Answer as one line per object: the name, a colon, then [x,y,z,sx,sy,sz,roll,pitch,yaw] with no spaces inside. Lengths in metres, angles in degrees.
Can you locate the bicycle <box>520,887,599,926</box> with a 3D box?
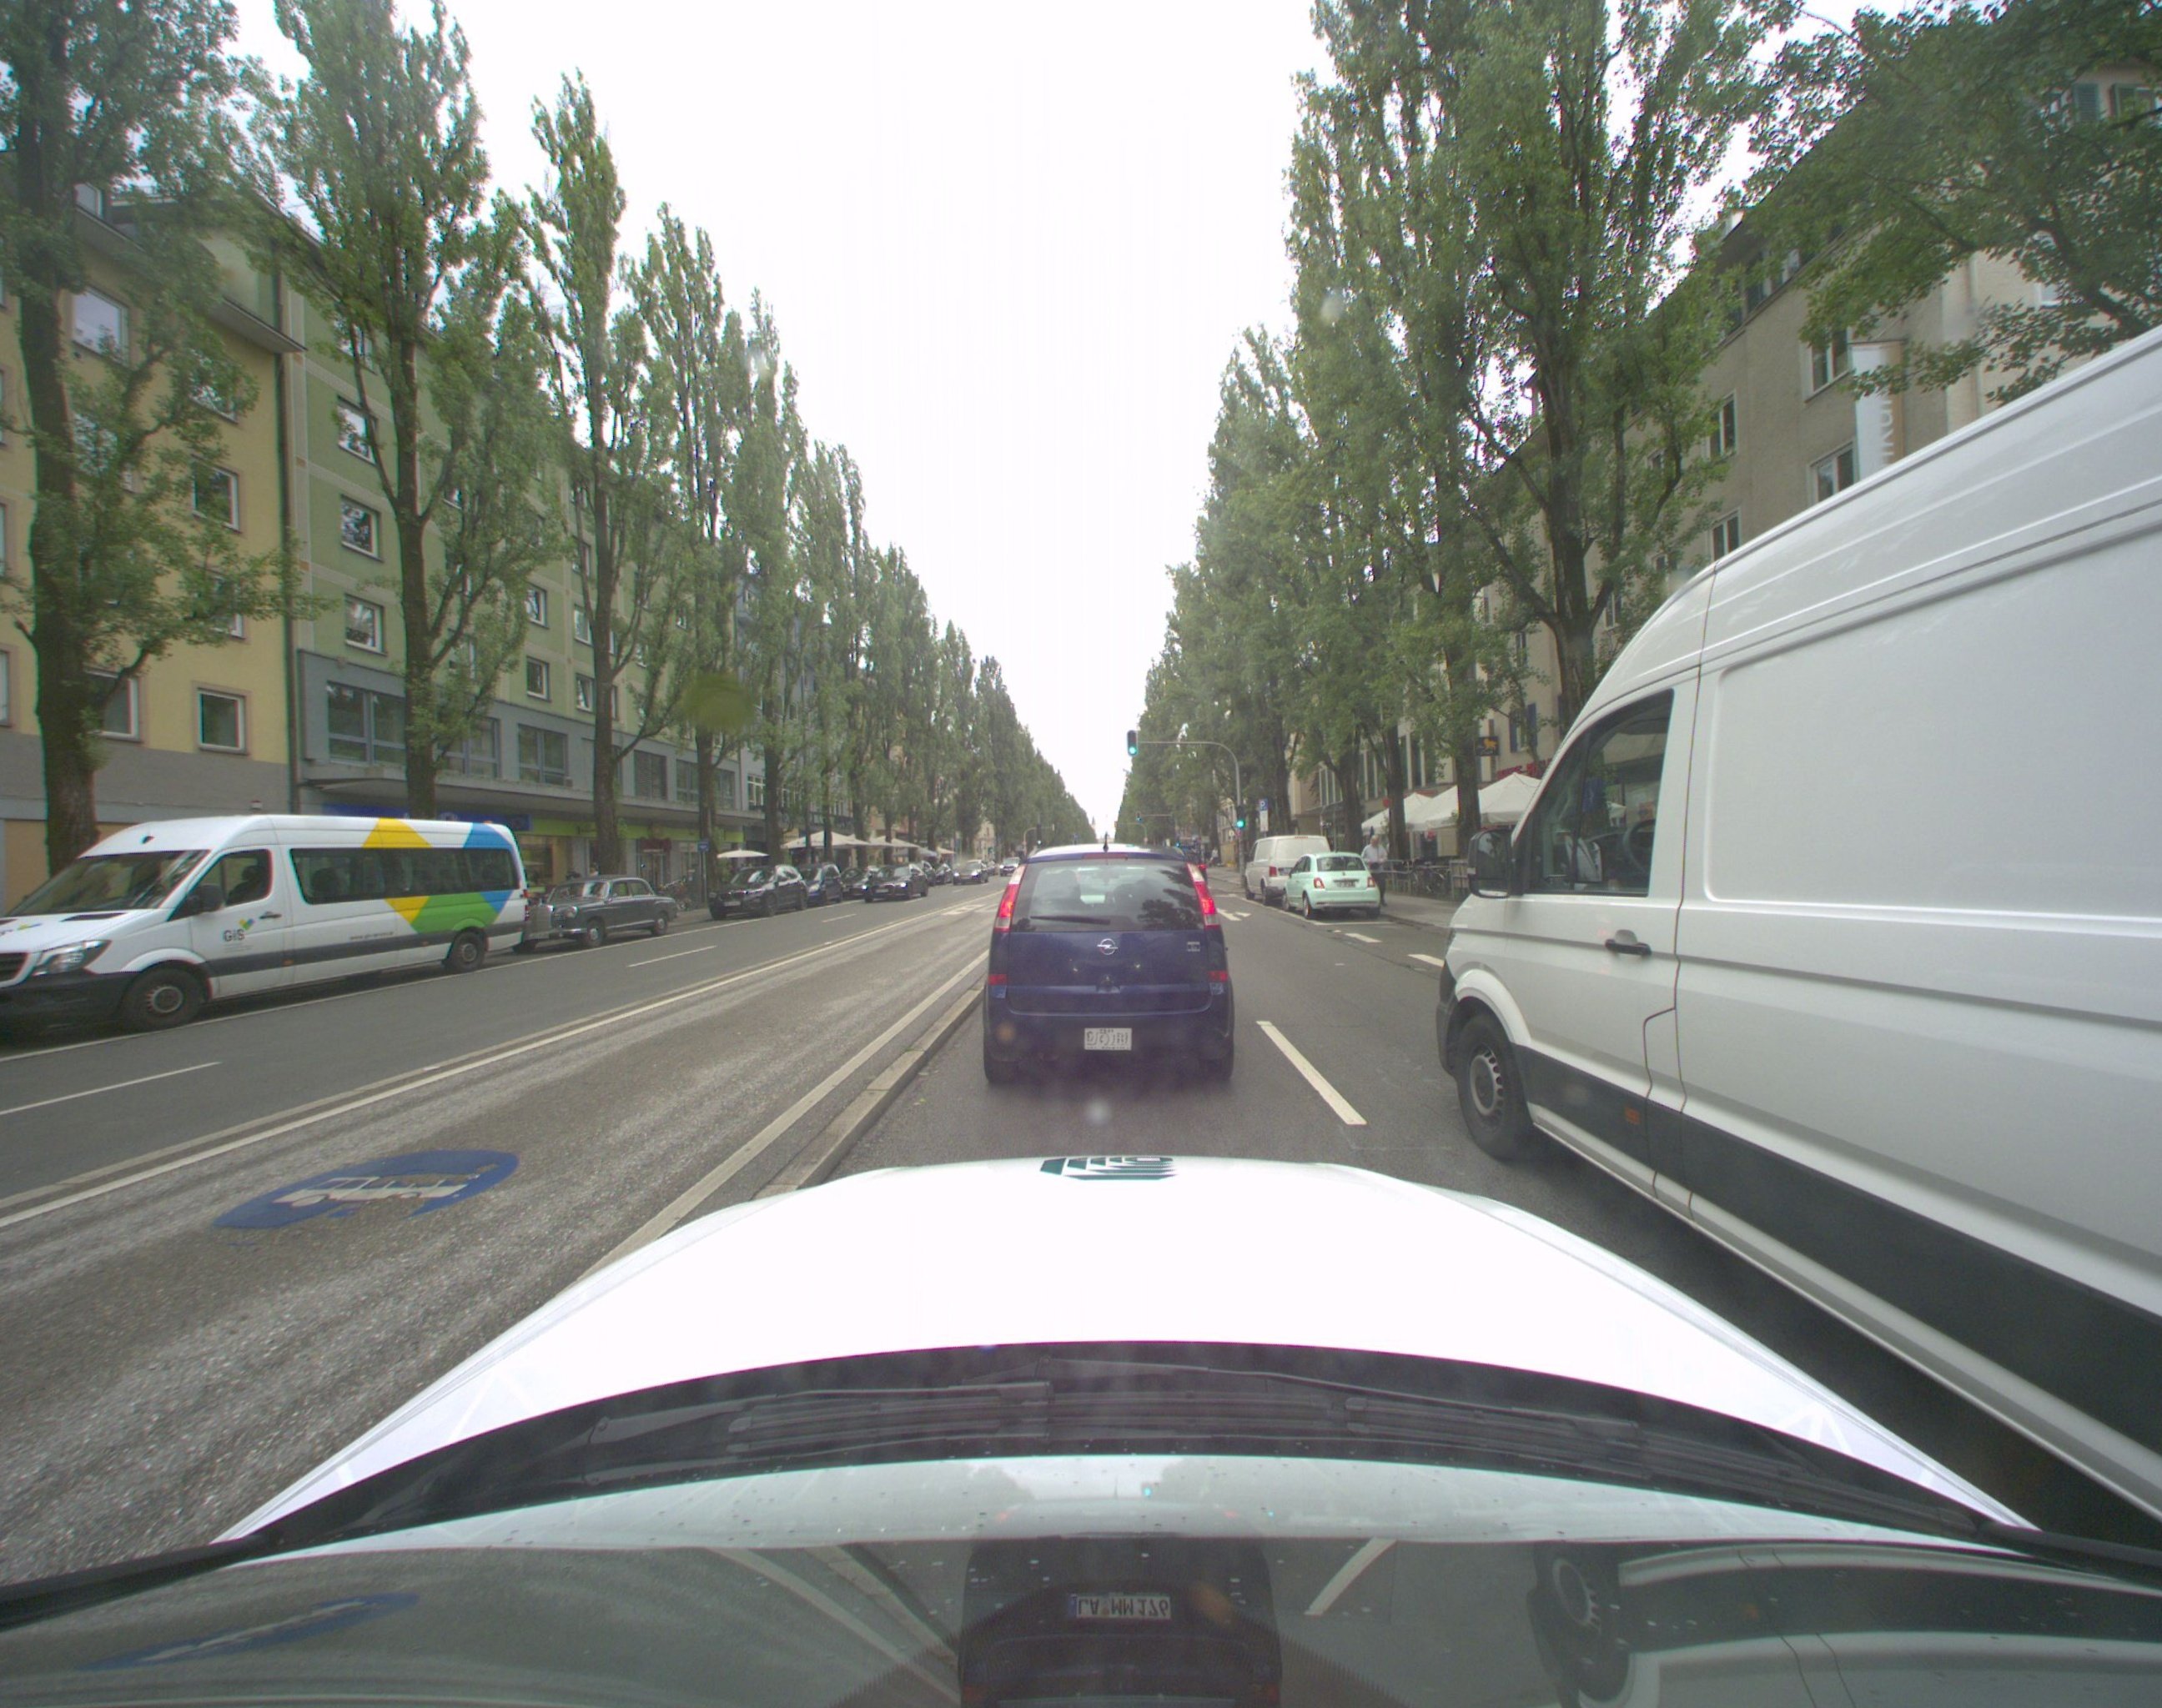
bicycle: [-15.266,1.527,23.850,1.860,1.095,0.720,0,0,4]

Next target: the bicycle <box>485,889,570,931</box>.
bicycle: [-15.284,1.531,22.508,1.860,1.095,0.720,0,0,4]

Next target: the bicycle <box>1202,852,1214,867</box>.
bicycle: [11.713,0.489,75.248,0.769,1.349,2.450,-2,0,1]

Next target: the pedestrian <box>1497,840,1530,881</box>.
pedestrian: [14.356,0.212,27.054,0.636,1.324,0.800,-2,0,1]

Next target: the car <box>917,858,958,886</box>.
car: [-9.692,1.209,55.396,1.859,1.665,4.122,-4,0,2]

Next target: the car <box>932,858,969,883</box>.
car: [-9.640,1.203,60.395,1.859,1.665,4.122,-4,0,2]

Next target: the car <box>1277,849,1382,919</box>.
car: [5.782,0.656,19.355,1.535,1.492,3.525,-1,0,2]

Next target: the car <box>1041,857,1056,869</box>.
car: [-4.772,1.314,120.706,1.859,1.665,4.122,-2,0,2]

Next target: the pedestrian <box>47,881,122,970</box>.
pedestrian: [-19.823,1.406,16.205,0.691,1.700,0.731,-3,0,23]

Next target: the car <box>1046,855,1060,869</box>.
car: [-4.554,1.275,131.712,1.986,2.013,4.001,-2,0,1]

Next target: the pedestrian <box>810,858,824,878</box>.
pedestrian: [-18.659,0.983,57.617,0.763,1.410,0.799,0,-1,-3]

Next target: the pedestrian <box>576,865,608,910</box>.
pedestrian: [-18.934,1.306,31.531,0.753,1.686,0.675,-3,-1,3]

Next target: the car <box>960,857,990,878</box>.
car: [-9.260,1.171,71.181,1.859,1.665,4.122,-4,0,2]

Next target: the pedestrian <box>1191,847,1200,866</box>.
pedestrian: [10.612,0.237,75.443,0.636,1.827,0.885,0,-1,-8]

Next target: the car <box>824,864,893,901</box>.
car: [-10.326,1.287,38.117,1.792,1.488,4.352,-4,0,2]

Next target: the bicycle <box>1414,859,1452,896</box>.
bicycle: [9.848,0.650,22.841,0.348,0.996,1.453,-4,-1,-2]

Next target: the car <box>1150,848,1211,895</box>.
car: [3.677,0.601,30.692,1.889,1.622,4.002,-1,0,2]

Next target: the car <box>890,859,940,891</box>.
car: [-9.958,1.231,49.142,1.859,1.665,4.402,-4,0,2]

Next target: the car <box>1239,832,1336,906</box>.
car: [6.045,0.400,24.392,1.781,1.946,4.732,-2,0,2]

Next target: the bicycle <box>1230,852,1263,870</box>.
bicycle: [11.921,0.521,58.591,2.220,1.204,0.626,-3,0,-1]

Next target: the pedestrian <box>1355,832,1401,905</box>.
pedestrian: [7.430,0.359,20.396,0.823,1.773,0.872,-2,0,5]

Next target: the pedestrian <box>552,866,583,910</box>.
pedestrian: [-20.256,1.326,32.147,0.670,1.686,0.759,-3,-1,3]

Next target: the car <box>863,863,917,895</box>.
car: [-10.122,1.295,43.482,1.727,1.425,4.145,-4,0,2]

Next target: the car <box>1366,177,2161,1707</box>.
car: [2.699,0.203,1.673,2.055,2.492,6.733,-1,0,2]

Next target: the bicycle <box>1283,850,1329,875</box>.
bicycle: [11.694,0.455,42.345,2.220,1.204,0.626,-3,0,-1]

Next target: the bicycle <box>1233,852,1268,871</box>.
bicycle: [11.901,0.515,57.212,2.220,1.204,0.626,-3,0,-1]

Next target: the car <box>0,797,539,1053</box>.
car: [-11.309,0.763,11.770,1.998,2.567,6.915,-4,0,2]

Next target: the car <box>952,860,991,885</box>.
car: [-7.055,1.167,52.716,1.739,1.434,4.131,-4,0,2]

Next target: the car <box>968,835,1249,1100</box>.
car: [0.235,0.685,6.927,1.665,1.568,4.002,-1,0,2]

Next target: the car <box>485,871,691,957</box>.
car: [-11.133,1.275,18.845,1.859,1.552,4.416,-4,0,2]

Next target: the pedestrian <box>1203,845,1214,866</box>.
pedestrian: [11.103,0.147,70.876,0.636,1.827,0.885,0,-1,-8]

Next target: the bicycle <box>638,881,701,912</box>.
bicycle: [-15.207,1.558,30.153,1.943,1.095,0.718,0,0,-5]

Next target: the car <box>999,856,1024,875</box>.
car: [-6.273,1.012,74.023,1.764,1.635,4.456,-3,0,1]

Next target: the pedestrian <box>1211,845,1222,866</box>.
pedestrian: [11.830,0.166,71.070,0.719,1.827,0.885,0,-1,-8]

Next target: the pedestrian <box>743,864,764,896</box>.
pedestrian: [-17.630,1.403,43.800,0.753,1.686,0.675,-3,-1,3]

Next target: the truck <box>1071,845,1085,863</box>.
truck: [-0.521,-0.017,154.590,2.374,3.346,7.113,-2,0,2]

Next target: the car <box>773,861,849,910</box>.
car: [-10.736,1.188,32.634,1.704,1.721,3.920,-4,0,-1]

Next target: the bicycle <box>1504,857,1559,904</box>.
bicycle: [10.300,0.593,18.647,0.348,0.996,1.453,-4,-1,-2]

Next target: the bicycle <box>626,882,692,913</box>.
bicycle: [-15.173,1.558,29.321,1.943,1.095,0.718,0,0,-5]

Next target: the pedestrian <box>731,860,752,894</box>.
pedestrian: [-17.721,1.201,42.537,0.753,1.686,0.675,-3,-1,3]

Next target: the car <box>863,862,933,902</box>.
car: [-7.676,1.132,34.592,1.691,1.462,4.714,-4,0,2]

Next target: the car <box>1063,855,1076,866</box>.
car: [-1.791,0.998,125.064,1.728,1.465,3.366,-2,0,2]

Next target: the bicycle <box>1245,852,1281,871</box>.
bicycle: [12.138,0.496,54.292,2.220,1.204,0.626,-3,0,-1]

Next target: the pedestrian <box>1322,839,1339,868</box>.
pedestrian: [14.892,-0.040,48.654,0.671,1.686,0.758,-3,-1,-3]

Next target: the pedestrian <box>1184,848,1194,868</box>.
pedestrian: [9.980,0.386,75.298,0.636,1.827,0.885,0,-1,-8]

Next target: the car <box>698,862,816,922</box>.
car: [-10.668,1.201,27.212,1.859,1.664,4.613,-4,0,2]

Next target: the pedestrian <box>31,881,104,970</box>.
pedestrian: [-20.494,1.429,16.475,0.691,1.700,0.731,-3,0,23]

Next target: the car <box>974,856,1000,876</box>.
car: [-9.026,1.133,78.457,1.859,1.665,4.122,-4,0,2]
